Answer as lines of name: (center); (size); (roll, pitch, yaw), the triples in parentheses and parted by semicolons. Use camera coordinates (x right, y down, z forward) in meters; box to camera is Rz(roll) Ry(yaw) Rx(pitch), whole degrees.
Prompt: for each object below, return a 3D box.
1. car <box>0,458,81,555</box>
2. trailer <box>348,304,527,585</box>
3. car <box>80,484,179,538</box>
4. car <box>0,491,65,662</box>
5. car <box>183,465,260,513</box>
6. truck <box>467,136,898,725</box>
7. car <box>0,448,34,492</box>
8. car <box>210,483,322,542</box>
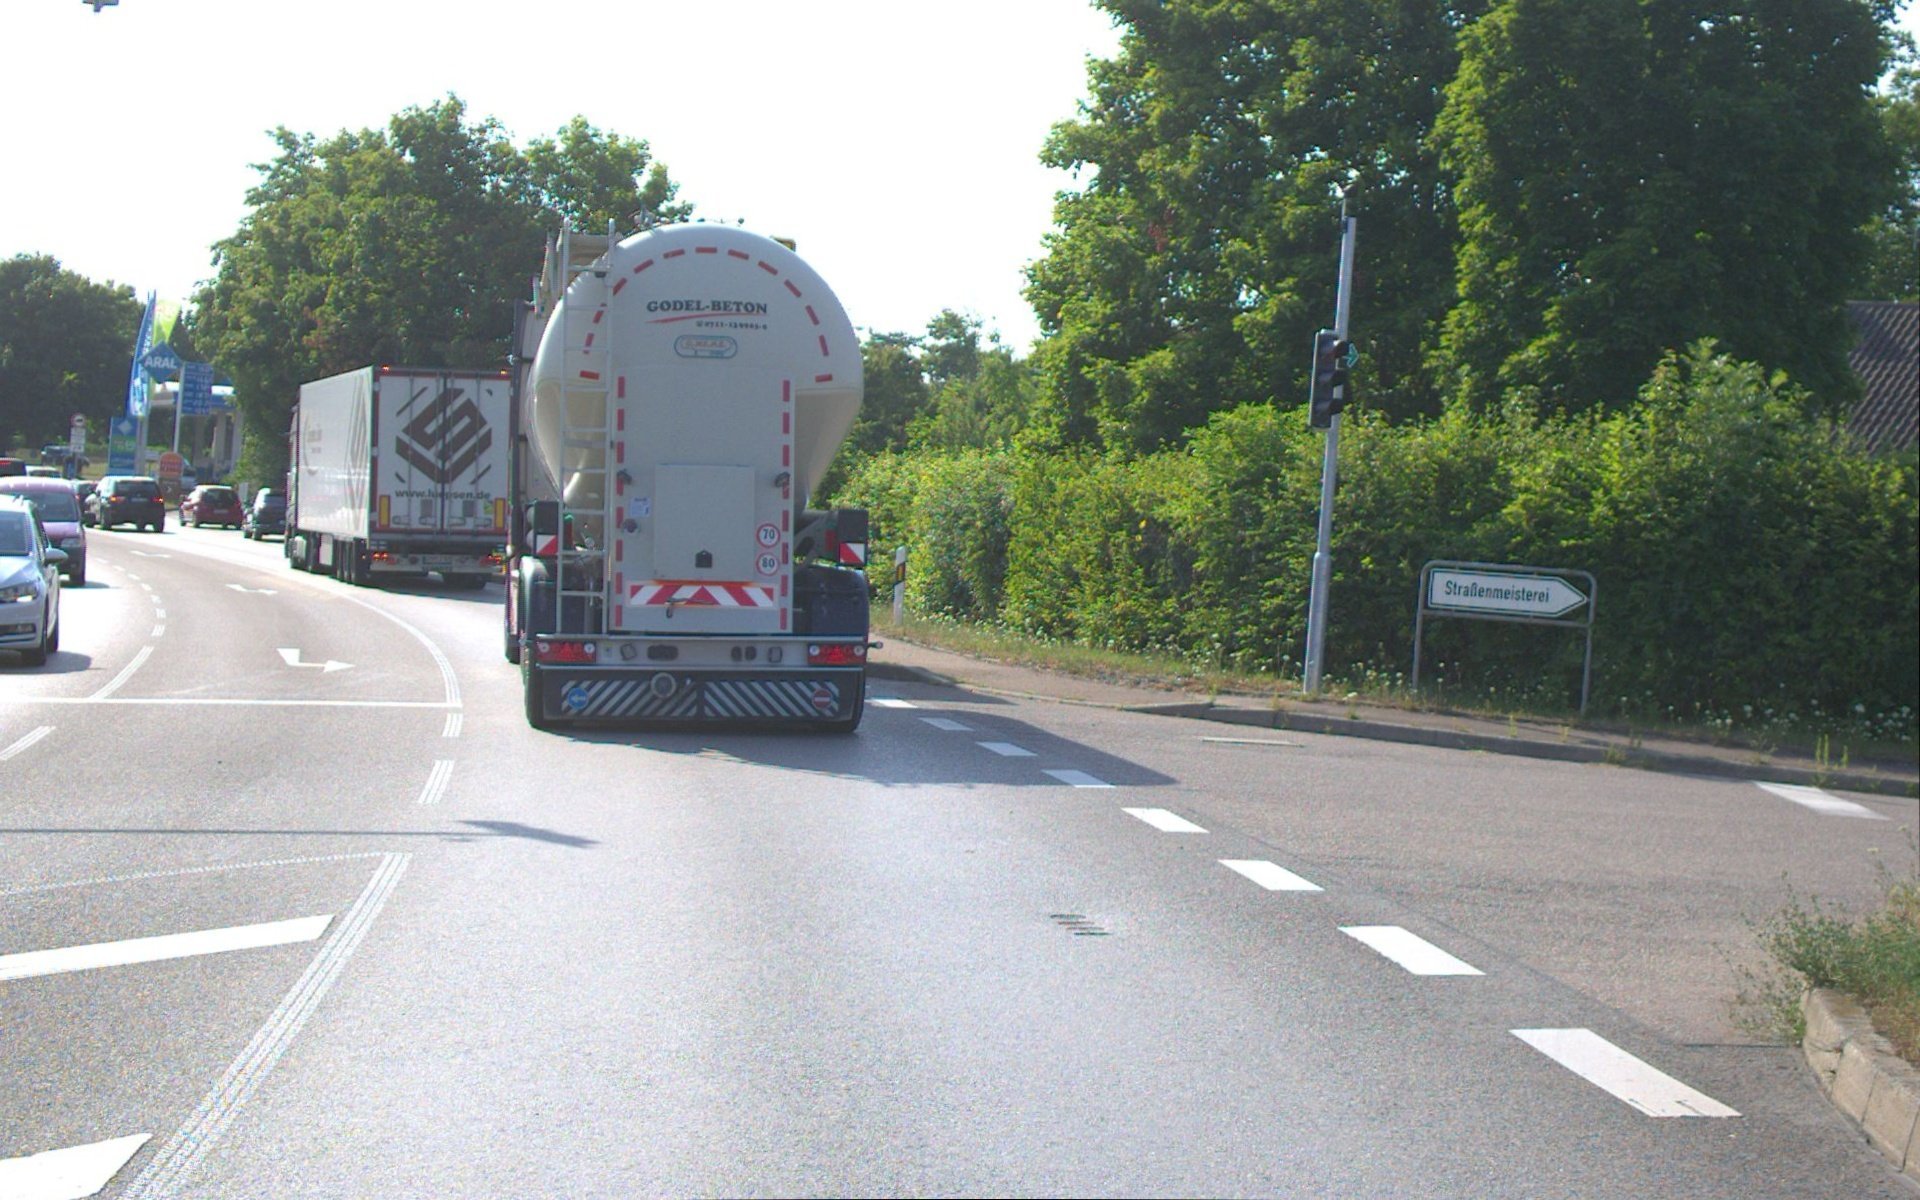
car: (-16.477, -1.658, 60.298); (1.881, 1.594, 4.001); (2, 1, -16)
trailer: (-10.111, -2.775, 66.117); (2.963, 4.865, 10.290); (2, 0, -9)
car: (-26.397, -2.824, 109.188); (1.881, 1.594, 4.000); (2, 1, -31)
car: (-9.922, -0.299, 34.174); (1.881, 1.594, 4.001); (2, 1, -14)
car: (-25.179, -3.768, 117.179); (1.683, 1.463, 4.001); (2, 0, -25)
truck: (-2.687, -1.225, 30.763); (2.975, 4.161, 11.664); (2, 0, -7)
car: (-36.452, -4.912, 129.693); (1.881, 1.594, 4.000); (2, 1, -31)
car: (-20.748, -2.600, 102.656); (1.993, 1.650, 4.000); (2, 0, -31)
